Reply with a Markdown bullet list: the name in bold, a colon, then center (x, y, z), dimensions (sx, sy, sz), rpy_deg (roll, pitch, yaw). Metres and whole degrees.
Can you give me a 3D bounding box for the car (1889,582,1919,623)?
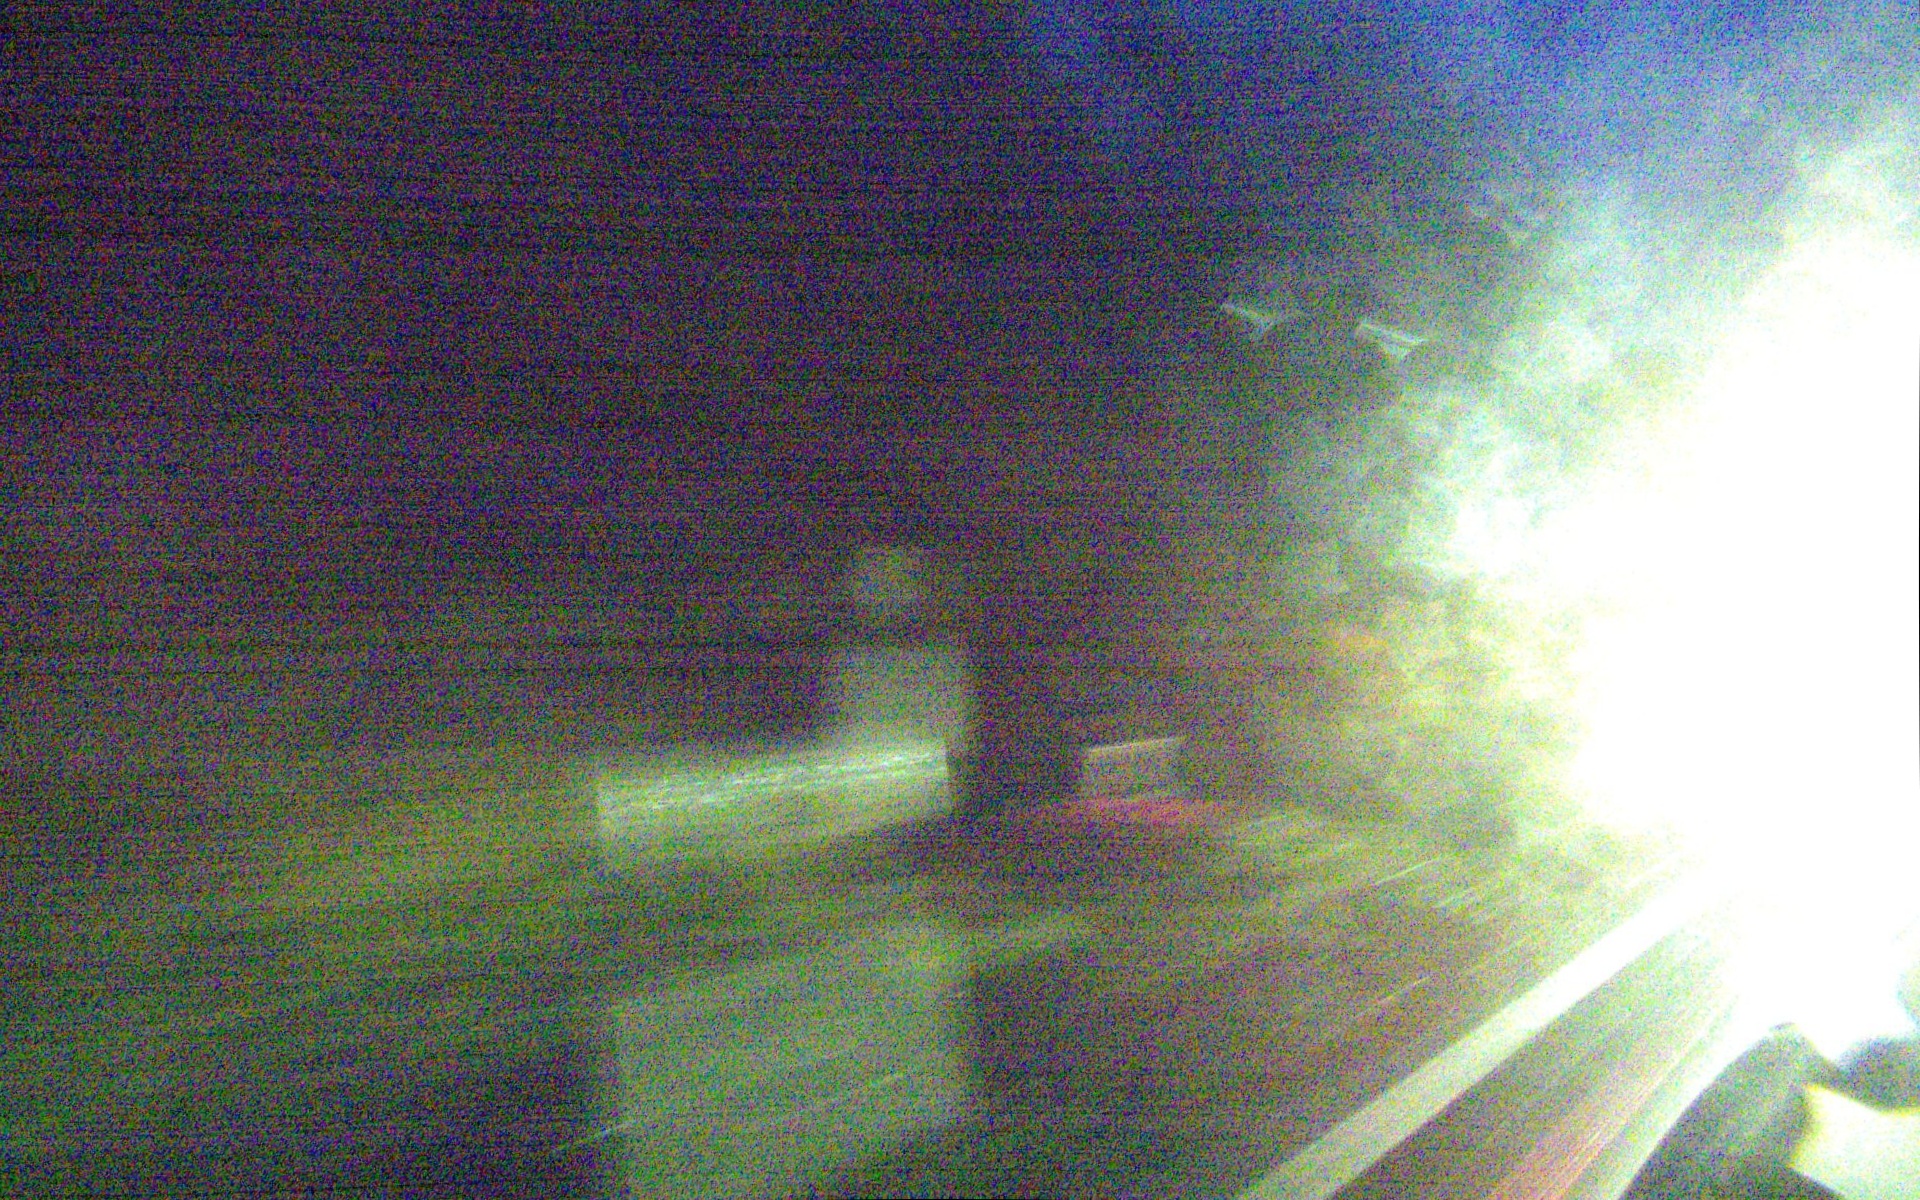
- **car**: center (44.143, 0.074, 46.737), dimensions (1.704, 1.794, 3.936), rpy_deg (0, 1, 44)
